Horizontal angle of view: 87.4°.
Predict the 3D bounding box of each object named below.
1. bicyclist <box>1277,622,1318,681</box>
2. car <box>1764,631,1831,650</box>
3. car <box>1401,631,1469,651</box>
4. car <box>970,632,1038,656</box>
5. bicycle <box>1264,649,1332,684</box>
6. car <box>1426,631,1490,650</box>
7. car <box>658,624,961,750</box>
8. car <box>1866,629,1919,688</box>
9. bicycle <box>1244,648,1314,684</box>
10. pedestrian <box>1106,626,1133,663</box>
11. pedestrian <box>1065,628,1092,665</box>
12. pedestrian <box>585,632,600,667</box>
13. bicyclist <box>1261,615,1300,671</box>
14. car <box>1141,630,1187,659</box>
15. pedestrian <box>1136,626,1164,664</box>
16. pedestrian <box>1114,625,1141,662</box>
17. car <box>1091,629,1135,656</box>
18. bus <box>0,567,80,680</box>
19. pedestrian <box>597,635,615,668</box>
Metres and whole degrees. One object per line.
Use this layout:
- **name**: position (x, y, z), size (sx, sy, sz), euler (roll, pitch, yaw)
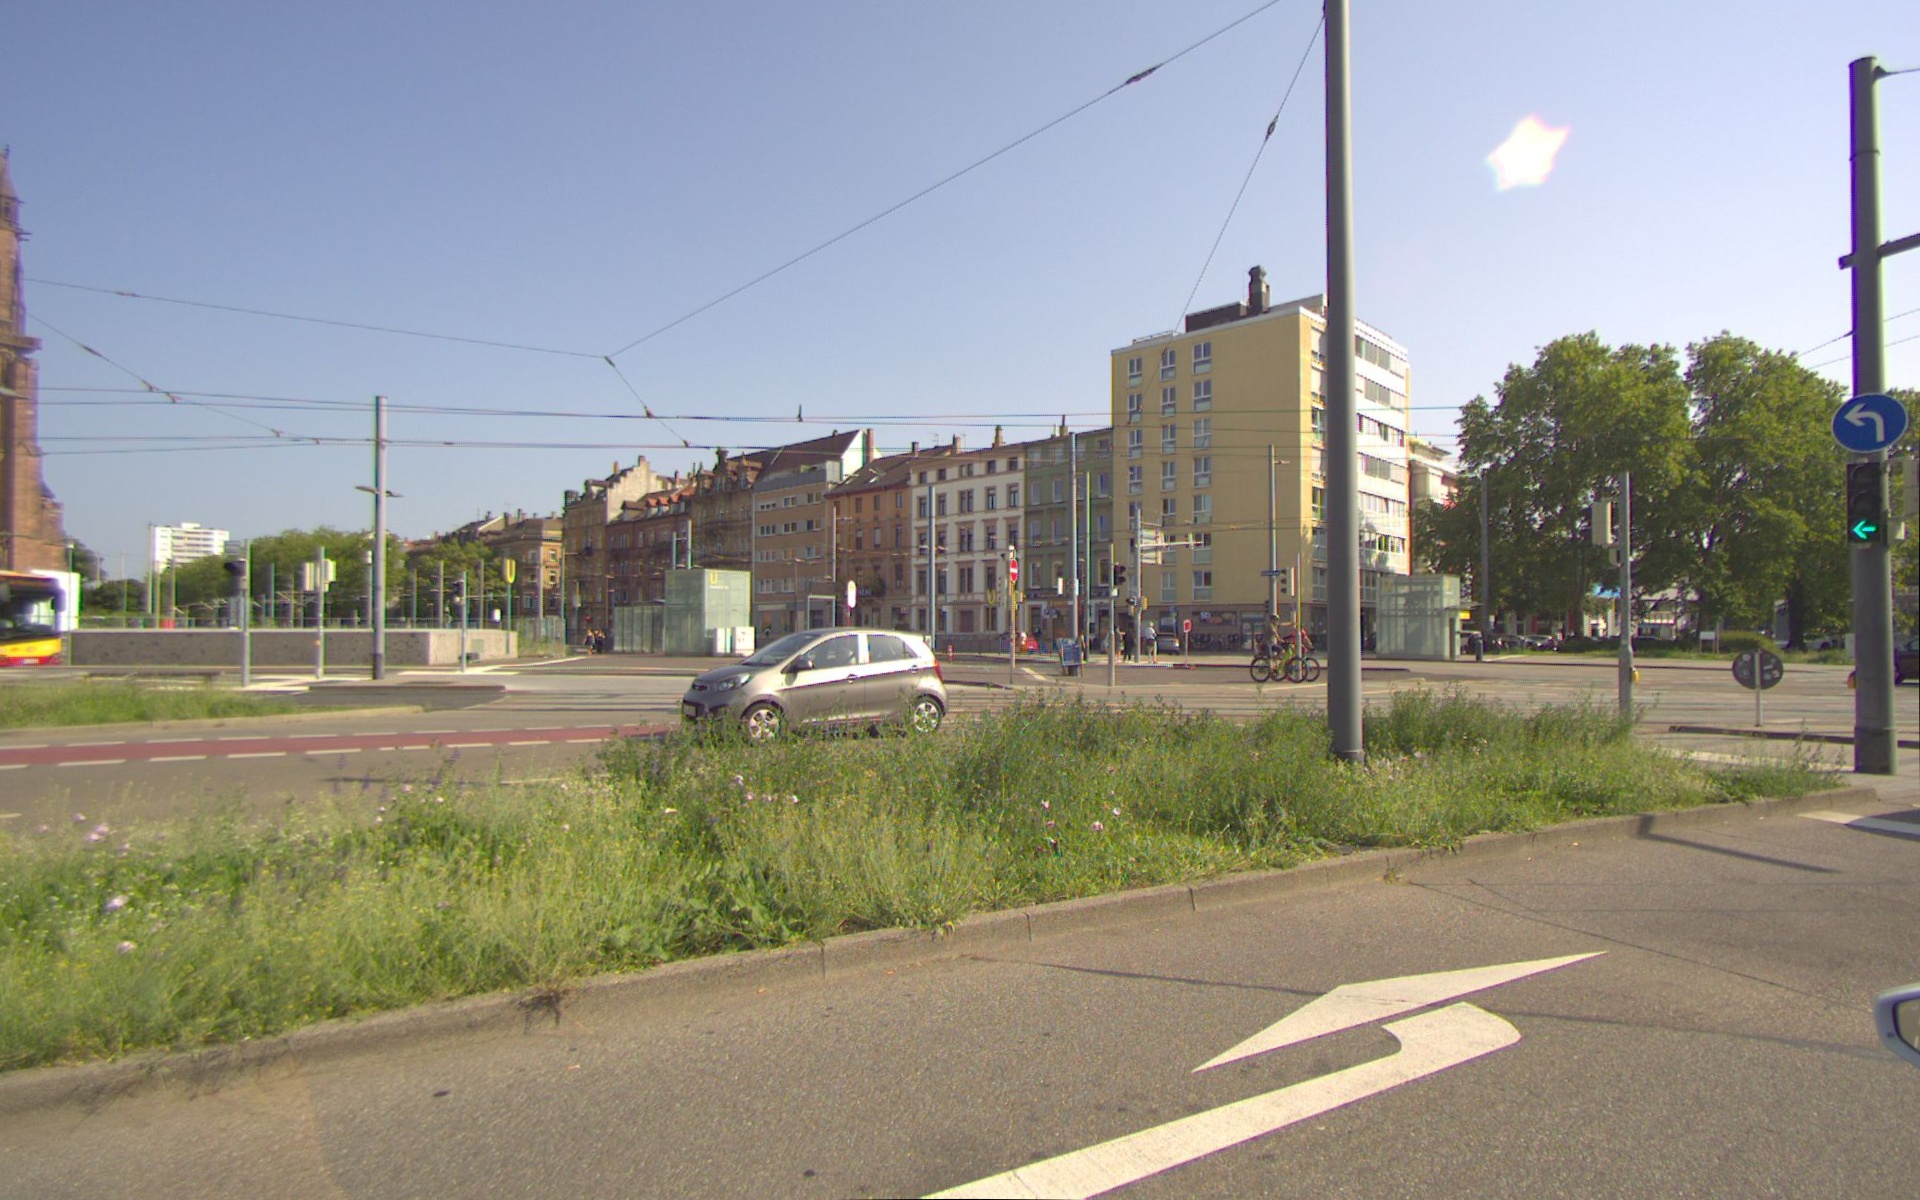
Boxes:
- **bicyclist**: position (9.832, 1.492, 29.260), size (0.720, 1.674, 0.874), euler (1, -2, -41)
- **car**: position (73.344, 3.531, 87.997), size (4.425, 1.543, 1.706), euler (1, -1, 2)
- **car**: position (33.554, 2.876, 71.035), size (4.110, 1.372, 1.570), euler (-1, -2, 42)
- **car**: position (2.900, 2.881, 66.883), size (4.350, 1.555, 1.821), euler (-2, -2, 43)
- **bicycle**: position (9.830, 1.921, 29.254), size (0.720, 0.944, 1.797), euler (1, -2, -40)
- **car**: position (37.813, 3.047, 76.340), size (4.110, 1.372, 1.570), euler (-1, -2, 42)
- **car**: position (-1.999, 1.082, 13.642), size (3.638, 1.471, 1.877), euler (1, -2, -35)
- **car**: position (28.895, 1.696, 28.841), size (1.795, 1.736, 4.414), euler (0, -2, 1)
- **bicycle**: position (8.981, 1.837, 28.334), size (0.720, 0.944, 1.797), euler (1, -2, -40)
- **pedestrian**: position (7.677, 2.133, 48.252), size (0.912, 1.712, 0.917), euler (0, -1, 43)
- **pedestrian**: position (5.674, 2.203, 48.025), size (0.912, 1.712, 0.917), euler (0, -1, 43)
- **pedestrian**: position (-20.085, 2.684, 54.917), size (0.646, 1.891, 0.715), euler (1, -1, -33)
- **bicyclist**: position (9.028, 1.215, 28.295), size (0.720, 1.547, 0.787), euler (1, -2, -41)
- **car**: position (12.934, 2.786, 63.876), size (1.961, 1.701, 4.550), euler (1, -1, -1)
- **pedestrian**: position (8.634, 2.029, 45.637), size (0.912, 1.712, 0.917), euler (0, -1, 43)
- **pedestrian**: position (7.813, 2.022, 46.830), size (0.912, 1.712, 0.917), euler (0, -1, 43)
- **car**: position (10.236, 2.832, 67.559), size (1.962, 1.701, 4.547), euler (1, -1, -5)
- **bus**: position (-32.677, 0.666, 28.900), size (11.976, 3.149, 2.716), euler (0, -2, -2)
- **pedestrian**: position (-19.538, 2.823, 55.427), size (0.744, 1.806, 0.701), euler (1, -1, -33)
